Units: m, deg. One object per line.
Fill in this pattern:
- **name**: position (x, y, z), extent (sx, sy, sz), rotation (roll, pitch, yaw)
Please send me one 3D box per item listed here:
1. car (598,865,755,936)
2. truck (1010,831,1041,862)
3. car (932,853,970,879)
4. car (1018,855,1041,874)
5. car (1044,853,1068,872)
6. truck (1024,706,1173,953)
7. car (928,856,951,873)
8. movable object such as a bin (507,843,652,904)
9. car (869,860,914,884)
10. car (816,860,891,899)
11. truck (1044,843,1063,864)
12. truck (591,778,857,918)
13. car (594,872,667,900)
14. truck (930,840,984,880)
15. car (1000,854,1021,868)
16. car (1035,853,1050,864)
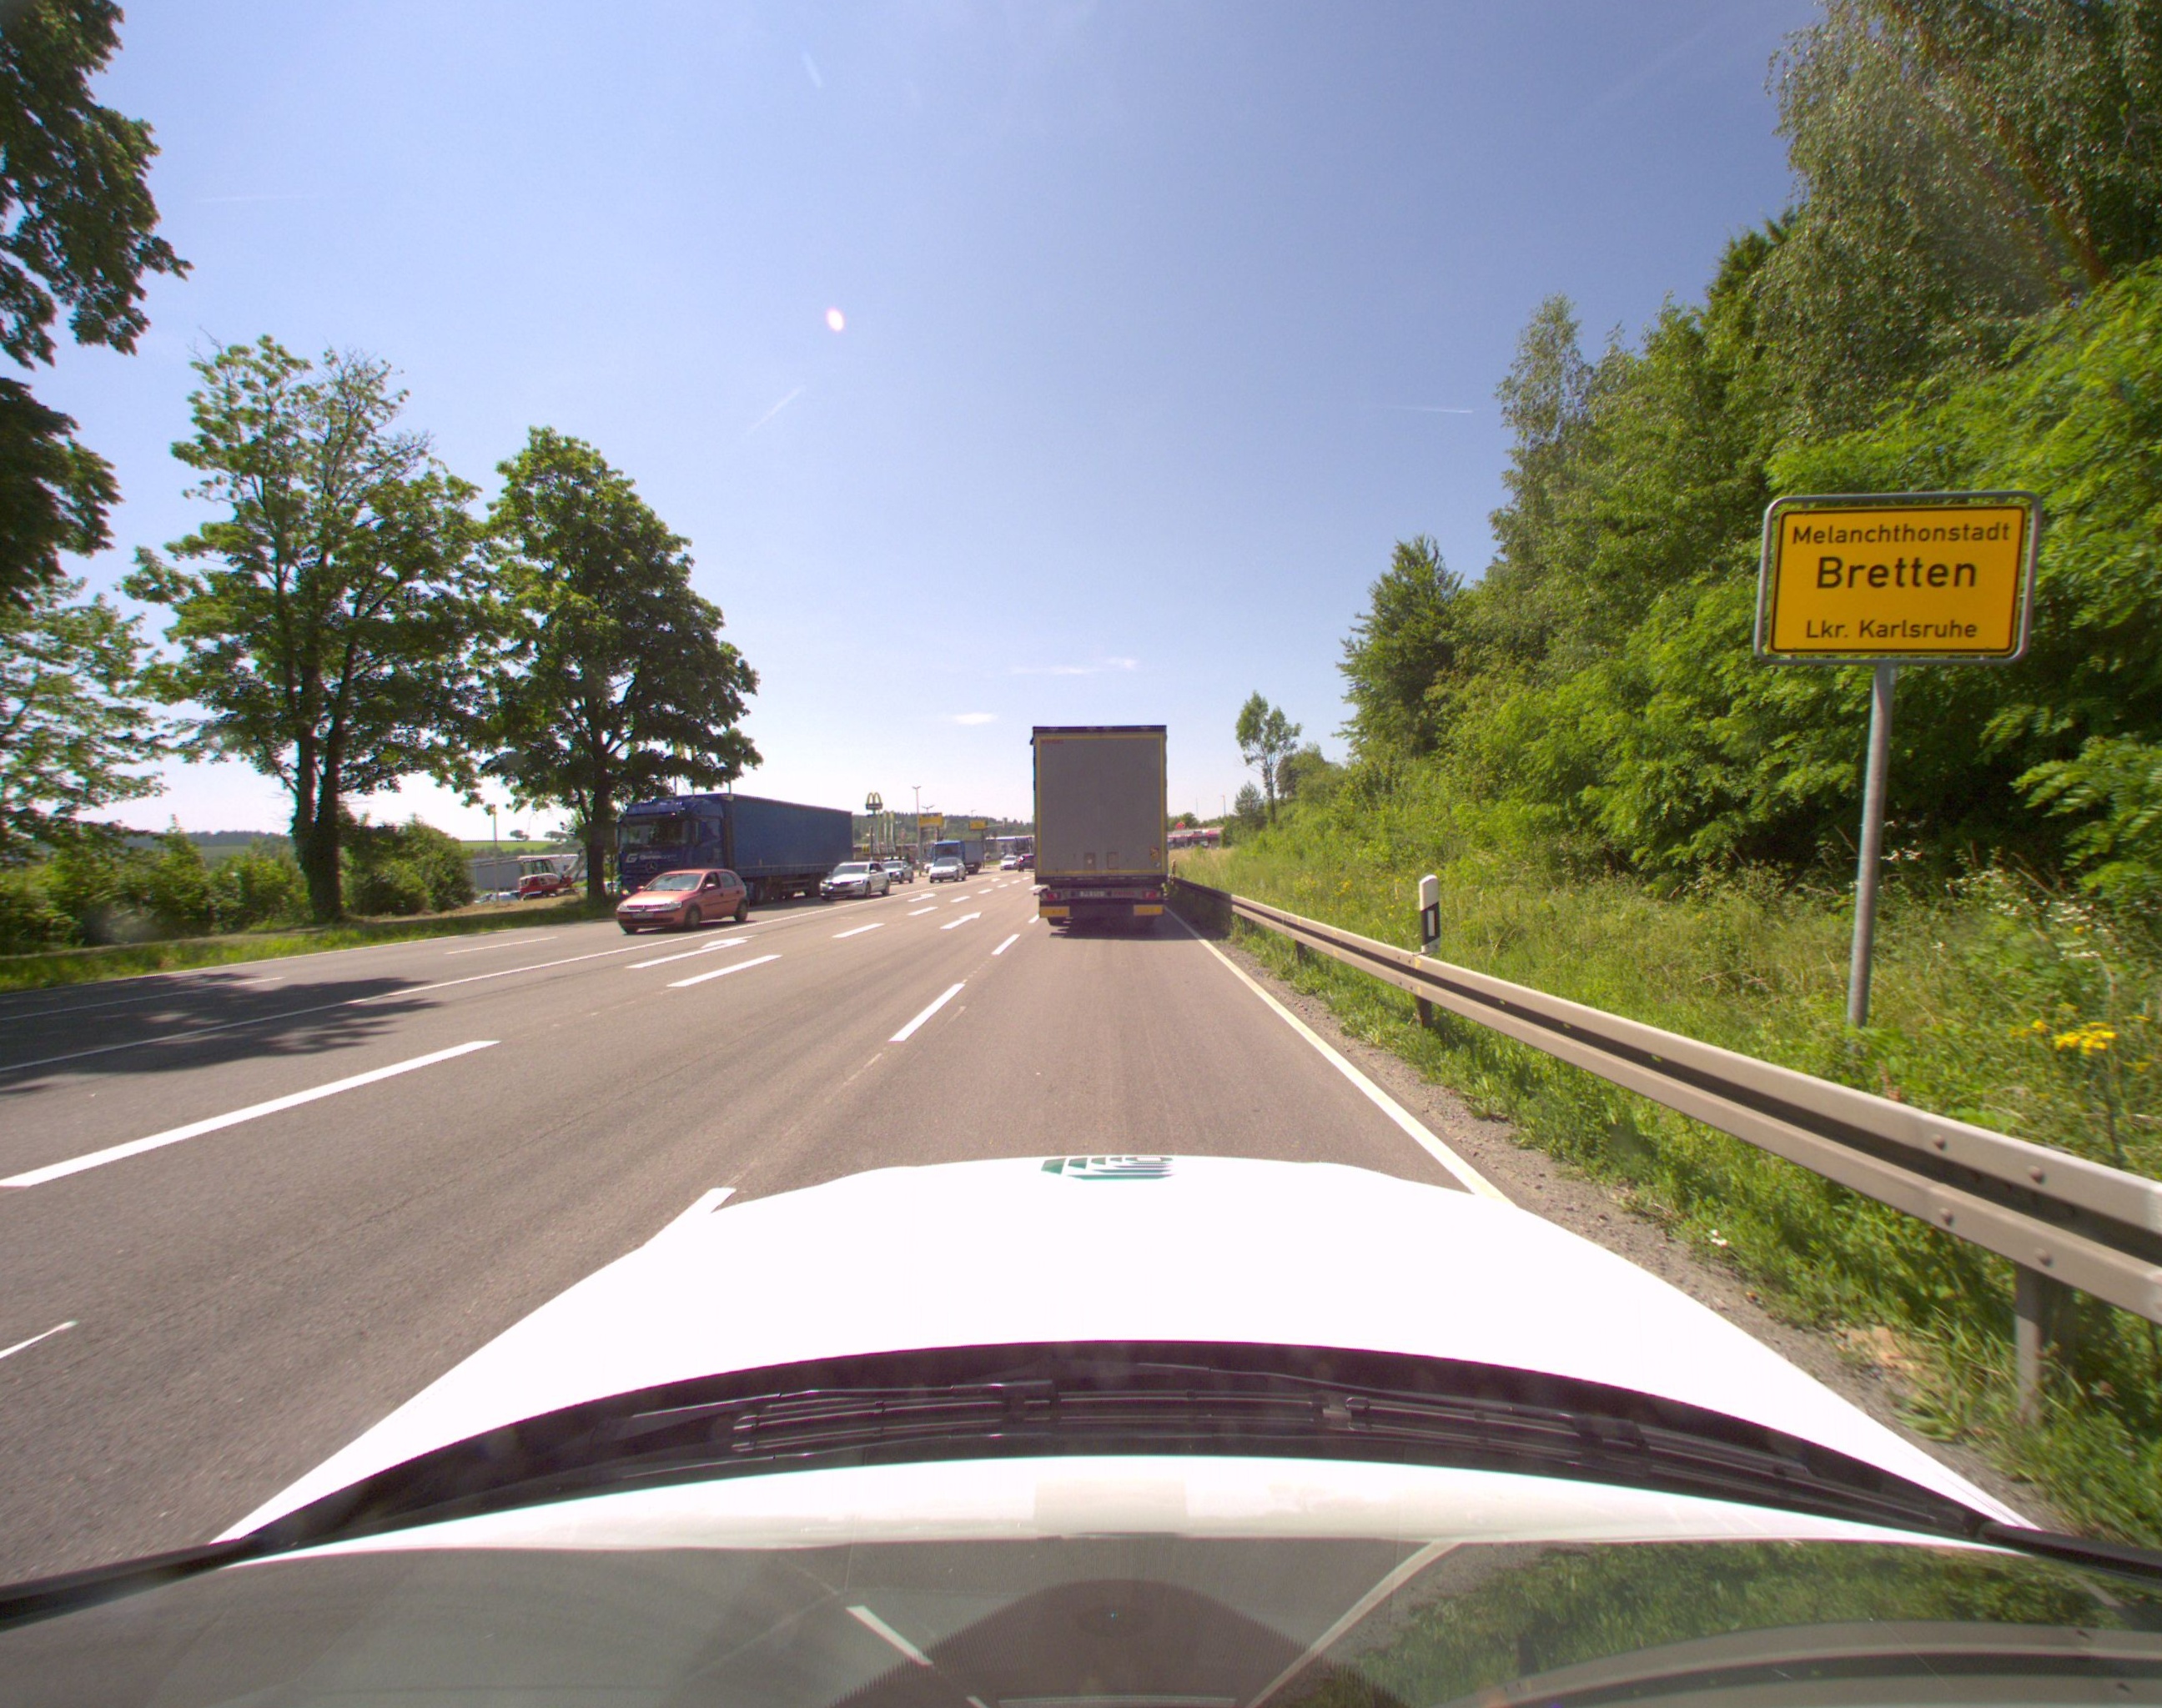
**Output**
- **car**: position (-9.678, 1.051, 19.836), extent (1.760, 1.446, 3.777), rotation (-2, 0, 2)
- **truck**: position (-8.494, -1.138, 127.111), extent (3.135, 4.349, 17.546), rotation (-3, 0, 1)
- **car**: position (-8.374, 0.739, 52.654), extent (1.787, 1.522, 4.184), rotation (-3, 1, -1)
- **car**: position (-4.796, 0.942, 75.907), extent (1.788, 1.627, 4.369), rotation (-2, 0, 0)
- **car**: position (-2.287, 0.781, 75.202), extent (1.797, 1.670, 4.296), rotation (-1, 0, 3)
- **truck**: position (0.521, -0.328, 23.719), extent (2.746, 4.639, 16.657), rotation (-1, -1, 1)
- **car**: position (-17.711, 1.348, 102.159), extent (1.986, 2.013, 4.001), rotation (-2, 0, 2)
- **movable object such as a bin**: position (-30.233, 1.089, 49.304), extent (3.014, 3.298, 6.834), rotation (-2, 0, 43)
- **car**: position (-12.409, 1.150, 53.476), extent (1.754, 1.428, 4.182), rotation (-2, 0, 2)
- **car**: position (-9.156, 0.966, 33.157), extent (1.694, 1.415, 4.563), rotation (-2, 0, 1)
- **truck**: position (-5.551, -0.055, 168.298), extent (2.923, 3.950, 14.243), rotation (-2, 0, 2)
- **truck**: position (-13.283, -0.142, 33.352), extent (2.957, 4.176, 16.580), rotation (-2, 0, 2)
- **car**: position (-40.089, 2.817, 72.571), extent (1.974, 2.183, 5.226), rotation (-2, 0, 40)
- **truck**: position (-11.235, 0.538, 75.042), extent (2.836, 3.351, 11.486), rotation (-2, 0, 2)
- **car**: position (-7.456, 0.743, 86.537), extent (1.783, 1.426, 4.263), rotation (-1, 0, 0)
- **car**: position (-5.618, 0.640, 120.325), extent (1.733, 1.503, 4.408), rotation (-3, -1, 2)
